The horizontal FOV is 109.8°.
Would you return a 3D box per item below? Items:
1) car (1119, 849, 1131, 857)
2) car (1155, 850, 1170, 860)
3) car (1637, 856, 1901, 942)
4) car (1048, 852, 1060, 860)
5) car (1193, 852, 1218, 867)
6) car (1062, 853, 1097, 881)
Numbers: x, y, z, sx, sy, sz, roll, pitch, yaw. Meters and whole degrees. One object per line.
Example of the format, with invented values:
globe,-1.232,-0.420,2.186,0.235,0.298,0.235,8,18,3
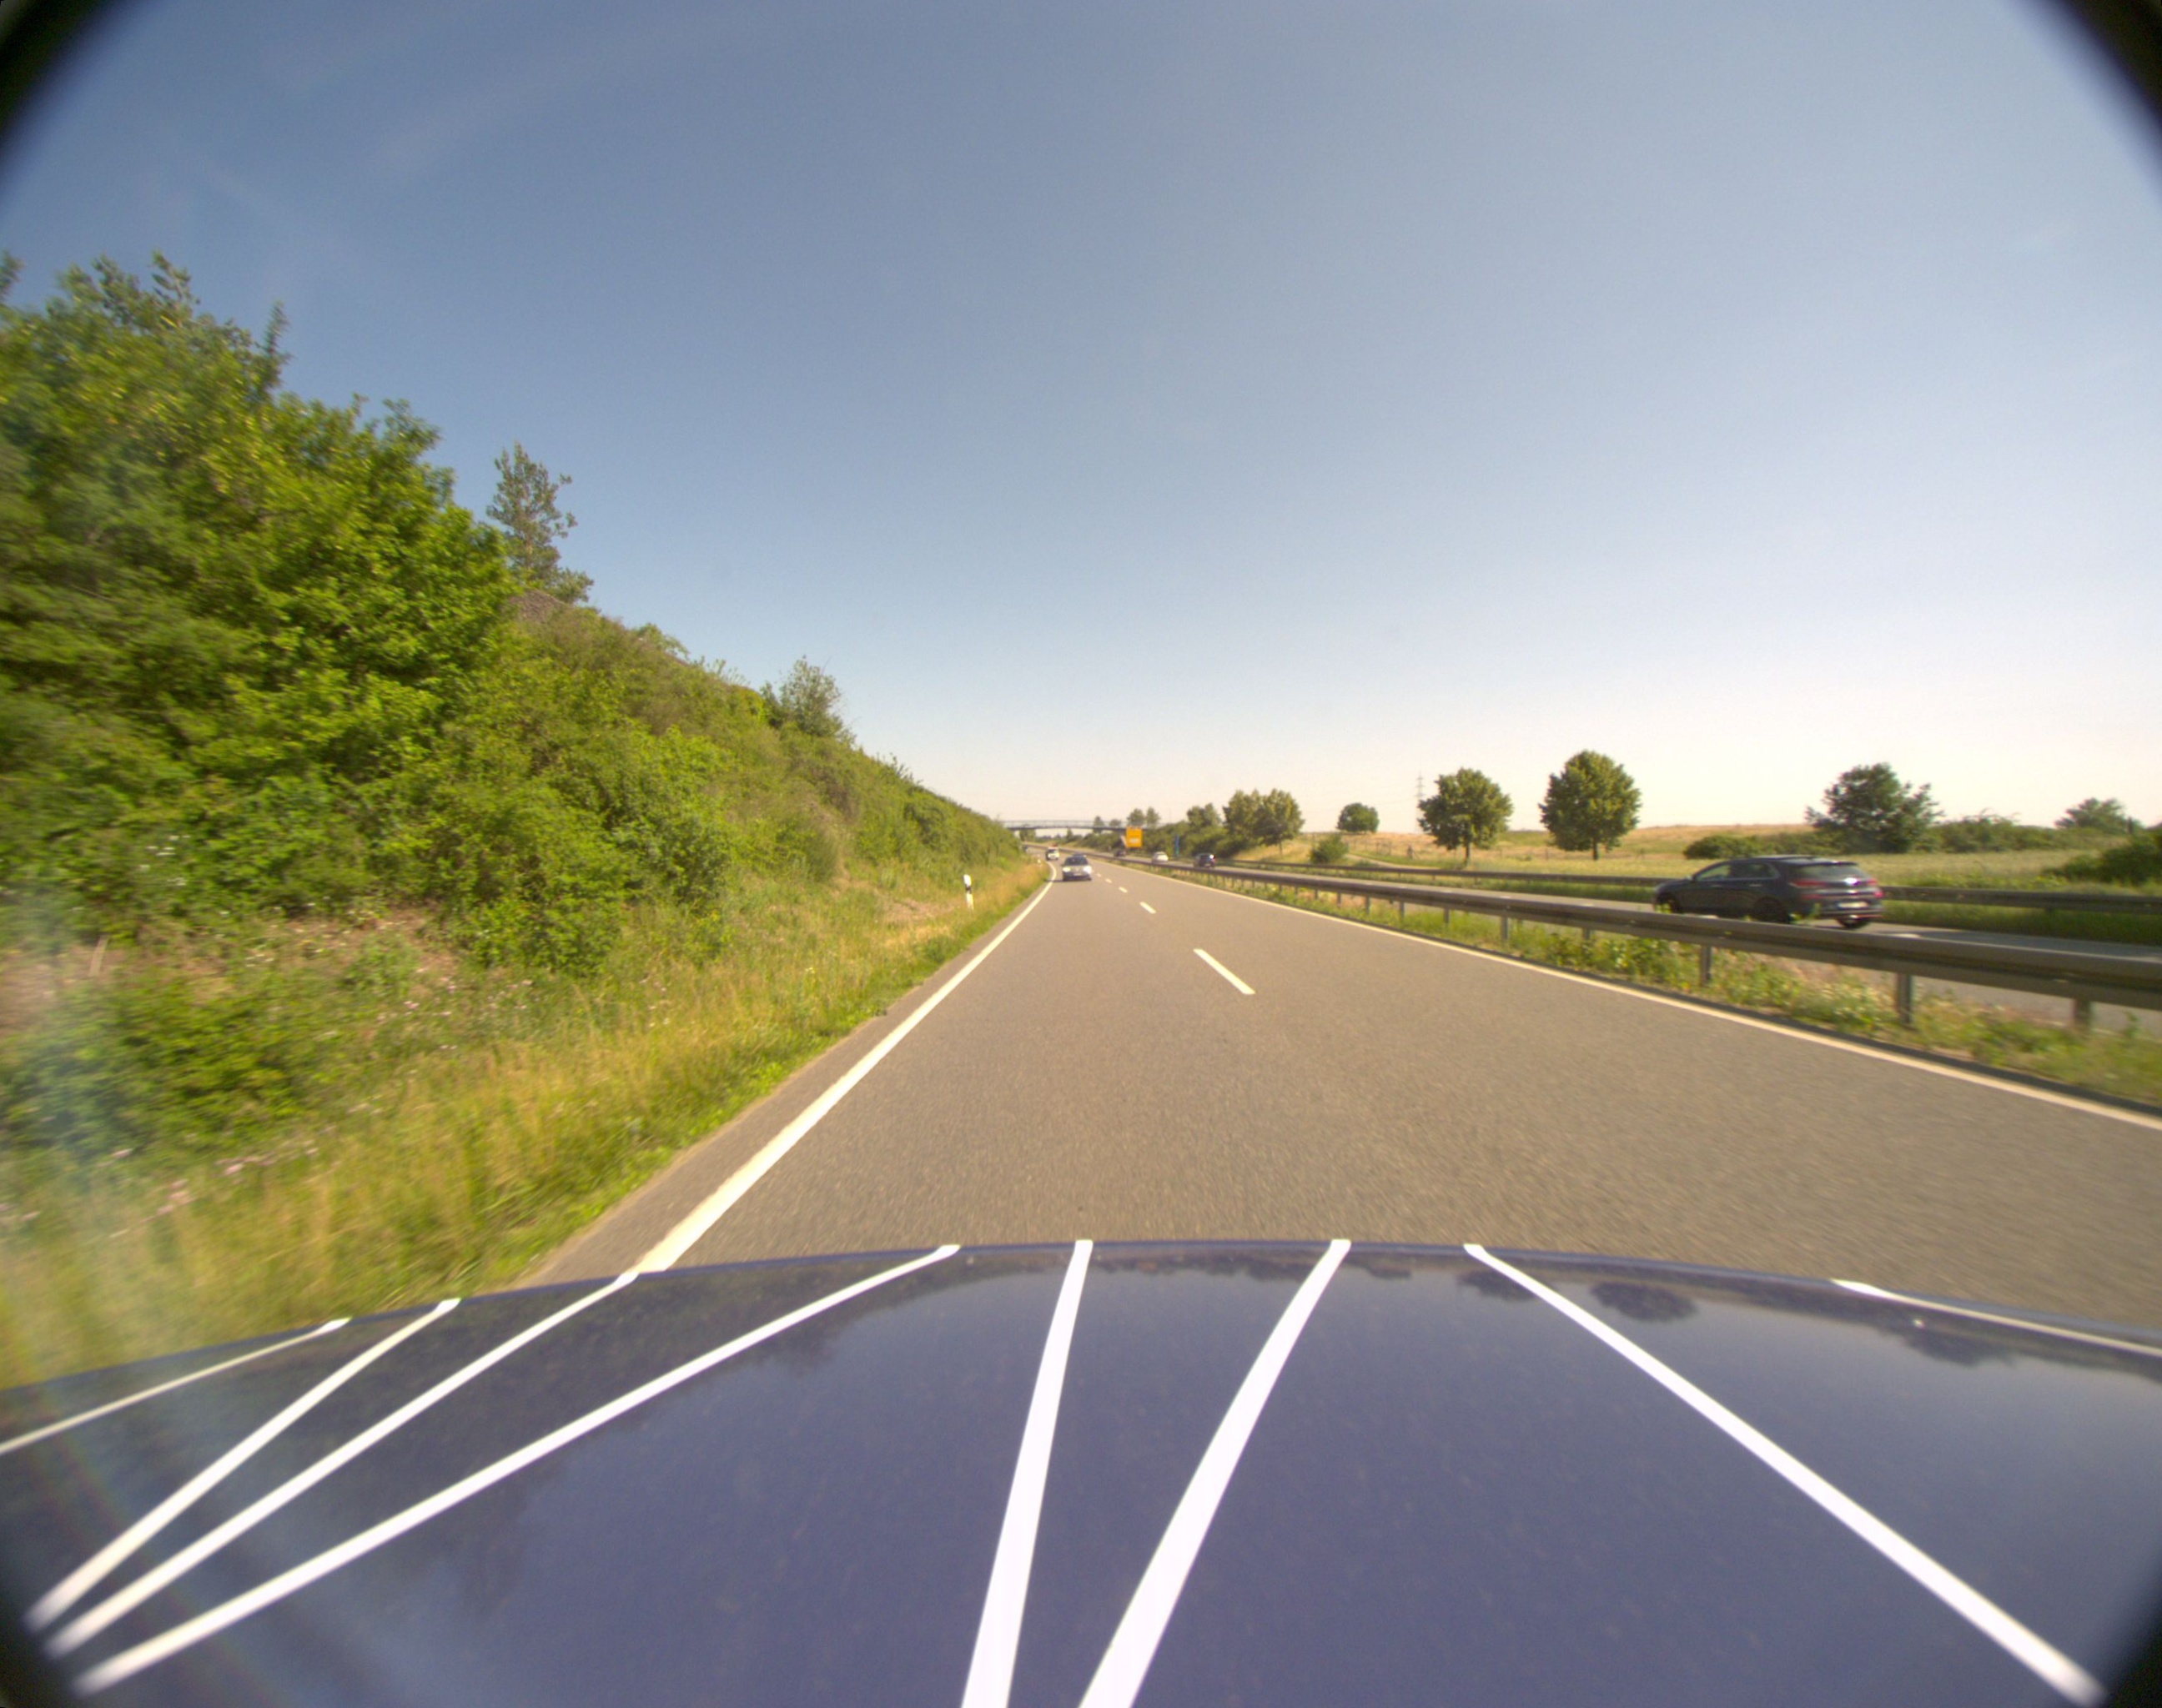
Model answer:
car,8.535,-0.192,147.485,1.876,1.393,4.321,-2,1,-2
car,11.875,0.154,110.665,1.673,1.424,4.347,-2,1,-1
car,14.649,0.859,16.616,1.656,1.544,4.561,-2,0,1
car,-4.538,0.243,125.524,1.791,1.212,3.997,0,1,-5
car,13.135,0.539,80.402,1.759,1.524,3.999,-2,0,-2
car,-0.061,0.799,48.087,1.854,1.635,4.001,-2,0,5
